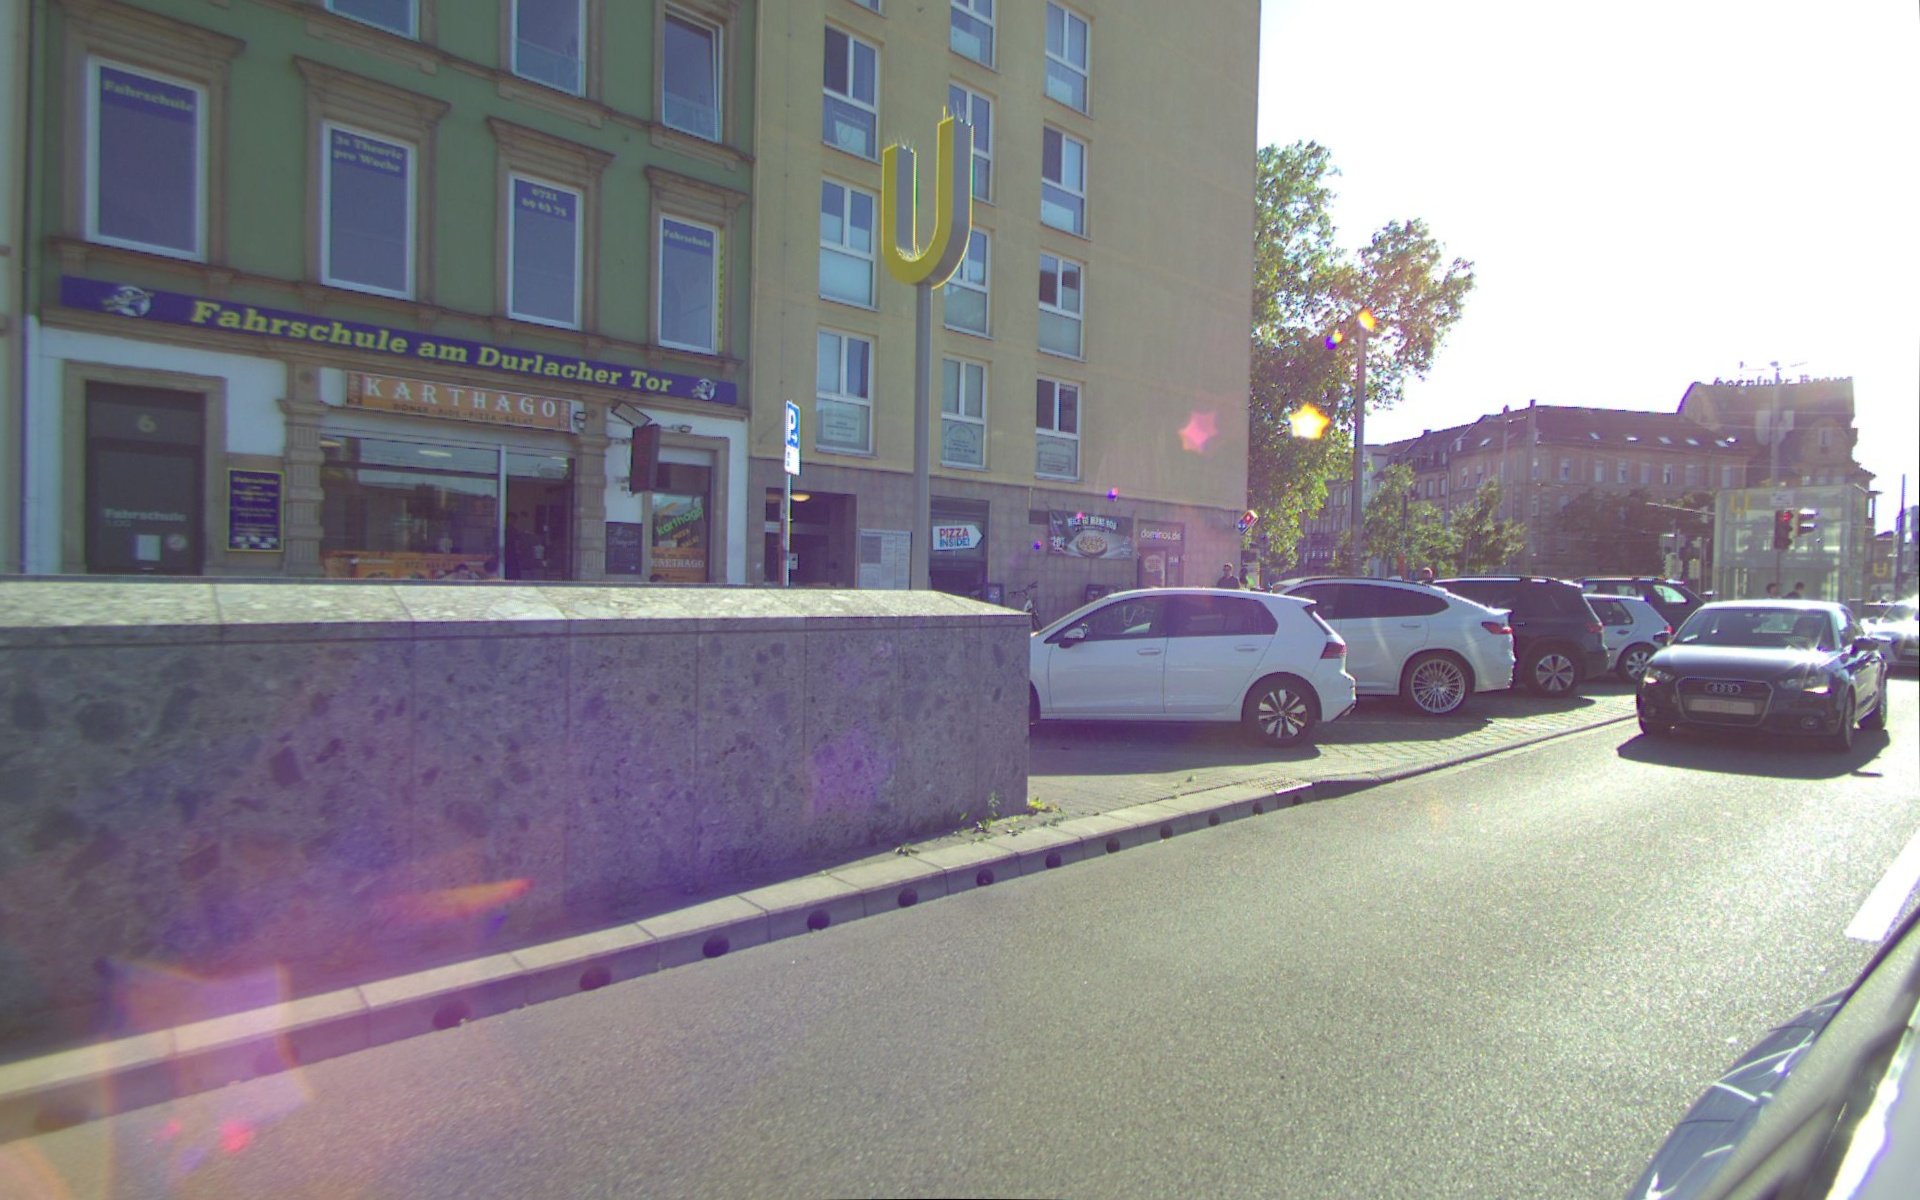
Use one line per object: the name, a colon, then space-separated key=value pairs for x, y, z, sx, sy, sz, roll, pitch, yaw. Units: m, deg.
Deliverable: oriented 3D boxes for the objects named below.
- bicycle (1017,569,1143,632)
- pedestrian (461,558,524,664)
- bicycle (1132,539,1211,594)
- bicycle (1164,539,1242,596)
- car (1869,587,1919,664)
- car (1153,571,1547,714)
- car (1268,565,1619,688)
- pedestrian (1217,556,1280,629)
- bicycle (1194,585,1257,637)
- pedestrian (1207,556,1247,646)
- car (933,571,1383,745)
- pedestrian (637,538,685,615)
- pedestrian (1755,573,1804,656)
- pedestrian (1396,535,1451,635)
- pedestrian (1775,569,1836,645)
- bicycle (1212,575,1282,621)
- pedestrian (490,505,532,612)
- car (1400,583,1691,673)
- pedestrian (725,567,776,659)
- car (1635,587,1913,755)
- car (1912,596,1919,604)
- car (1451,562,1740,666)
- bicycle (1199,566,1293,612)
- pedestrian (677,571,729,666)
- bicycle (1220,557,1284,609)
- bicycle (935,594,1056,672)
bicycle: x=2.668 y=-0.004 z=22.107 sx=3.009 sy=1.279 sz=0.986 roll=0 pitch=2 yaw=-42
pedestrian: x=-6.097 y=0.133 z=13.196 sx=0.515 sy=1.335 sz=0.583 roll=2 pitch=2 yaw=42
bicycle: x=5.123 y=-0.800 z=24.427 sx=2.260 sy=1.264 sz=0.658 roll=-1 pitch=3 yaw=-43
bicycle: x=5.777 y=-0.761 z=23.950 sx=2.261 sy=1.264 sz=0.658 roll=-1 pitch=3 yaw=-45
car: x=19.531 y=0.454 z=19.844 sx=4.376 sy=1.405 sz=1.825 roll=-1 pitch=1 yaw=-38
car: x=4.635 y=0.462 z=12.622 sx=4.176 sy=1.590 sz=1.957 roll=1 pitch=0 yaw=6
car: x=6.870 y=0.338 z=14.818 sx=4.177 sy=1.618 sz=1.957 roll=1 pitch=0 yaw=6
pedestrian: x=8.365 y=-0.226 z=29.382 sx=1.244 sy=2.039 sz=1.036 roll=4 pitch=0 yaw=-24
bicycle: x=6.841 y=0.250 z=26.053 sx=1.869 sy=1.264 sz=0.658 roll=-1 pitch=3 yaw=-44
pedestrian: x=5.829 y=0.009 z=22.082 sx=0.744 sy=1.889 sz=0.826 roll=2 pitch=1 yaw=19
car: x=1.886 y=0.485 z=10.299 sx=4.044 sy=1.482 sz=1.958 roll=1 pitch=1 yaw=8
pedestrian: x=-4.677 y=-0.365 z=15.818 sx=0.580 sy=1.174 sz=0.517 roll=0 pitch=1 yaw=-34
pedestrian: x=17.762 y=0.294 z=21.948 sx=0.693 sy=1.749 sz=0.744 roll=2 pitch=1 yaw=33
pedestrian: x=8.990 y=-0.297 z=19.660 sx=0.740 sy=1.889 sz=0.697 roll=1 pitch=1 yaw=7
pedestrian: x=20.044 y=0.154 z=24.012 sx=0.784 sy=1.749 sz=0.865 roll=2 pitch=1 yaw=18
bicycle: x=9.249 y=-0.092 z=32.620 sx=1.993 sy=1.361 sz=0.802 roll=4 pitch=3 yaw=44
pedestrian: x=-7.414 y=-0.677 z=16.708 sx=0.580 sy=1.733 sz=0.517 roll=0 pitch=1 yaw=-29
car: x=9.739 y=0.448 z=17.096 sx=3.824 sy=1.417 sz=1.786 roll=0 pitch=0 yaw=6
pedestrian: x=-3.123 y=0.182 z=15.099 sx=0.580 sy=1.335 sz=0.517 roll=0 pitch=1 yaw=-34
car: x=8.733 y=0.601 z=10.748 sx=3.766 sy=1.405 sz=1.693 roll=-2 pitch=2 yaw=-41
car: x=175.677 y=0.005 z=185.169 sx=1.746 sy=1.482 sz=3.966 roll=2 pitch=0 yaw=36
car: x=11.935 y=0.226 z=19.295 sx=4.180 sy=1.837 sz=1.956 roll=1 pitch=0 yaw=8
bicycle: x=8.292 y=-0.328 z=29.342 sx=2.478 sy=1.137 sz=1.036 roll=4 pitch=0 yaw=-24
pedestrian: x=-3.723 y=0.257 z=14.677 sx=0.580 sy=1.335 sz=0.517 roll=0 pitch=1 yaw=-34
bicycle: x=7.369 y=-0.436 z=25.512 sx=1.869 sy=1.264 sz=0.658 roll=-1 pitch=3 yaw=-44
bicycle: x=0.713 y=0.653 z=19.721 sx=2.187 sy=1.374 sz=0.932 roll=4 pitch=0 yaw=-38
